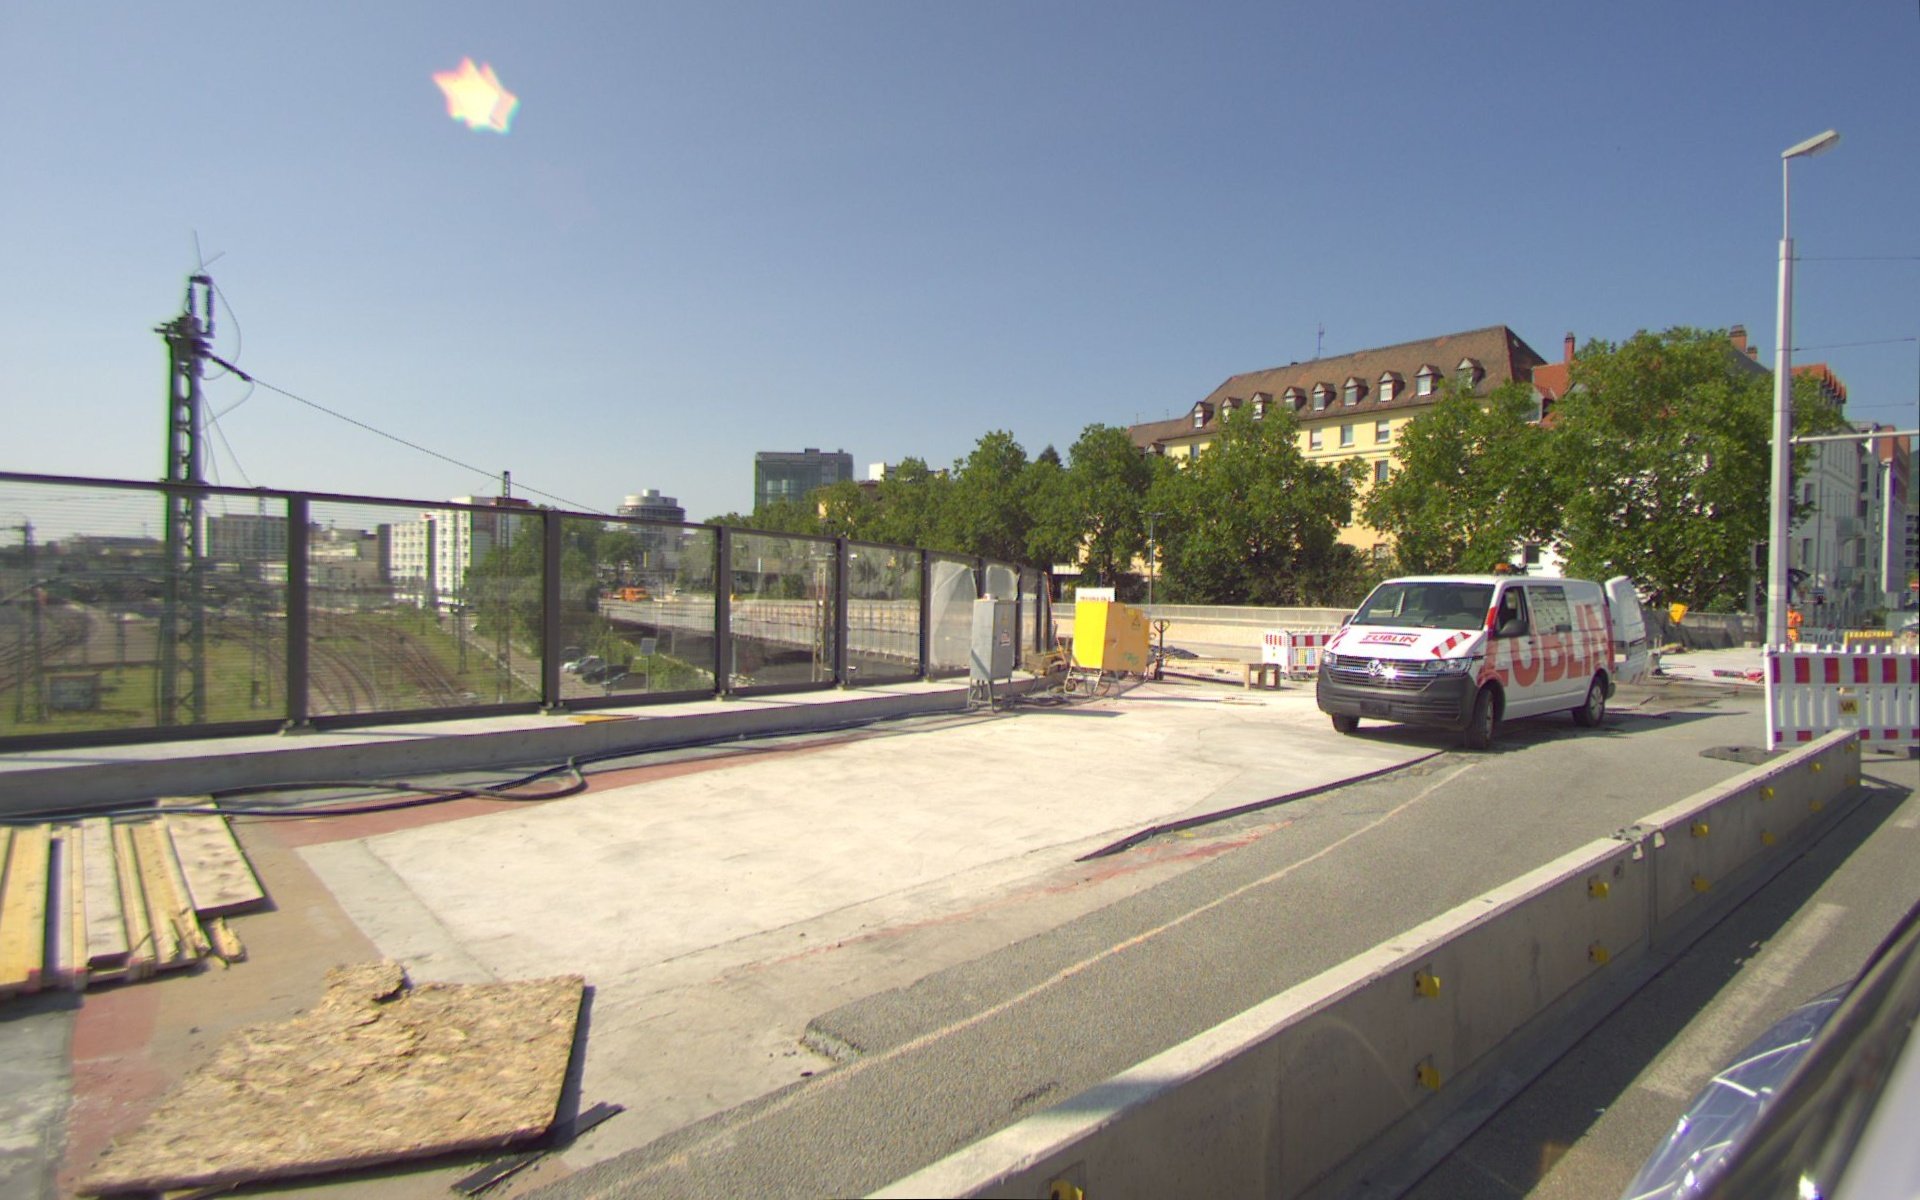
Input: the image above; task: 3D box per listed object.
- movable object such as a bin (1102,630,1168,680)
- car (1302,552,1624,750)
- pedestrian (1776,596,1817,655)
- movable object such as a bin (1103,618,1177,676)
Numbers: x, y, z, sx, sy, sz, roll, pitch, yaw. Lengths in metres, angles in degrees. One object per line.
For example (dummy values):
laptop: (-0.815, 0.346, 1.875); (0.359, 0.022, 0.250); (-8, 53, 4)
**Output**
movable object such as a bin: (3.442, 1.074, 19.970); (1.084, 0.853, 0.757); (4, 0, -1)
car: (6.494, 0.522, 12.810); (4.803, 2.059, 1.883); (0, 0, -40)
pedestrian: (26.756, 0.808, 32.378); (0.849, 1.817, 0.821); (1, 2, -42)
movable object such as a bin: (3.783, 0.989, 21.431); (0.595, 1.144, 2.045); (-2, -2, -18)
